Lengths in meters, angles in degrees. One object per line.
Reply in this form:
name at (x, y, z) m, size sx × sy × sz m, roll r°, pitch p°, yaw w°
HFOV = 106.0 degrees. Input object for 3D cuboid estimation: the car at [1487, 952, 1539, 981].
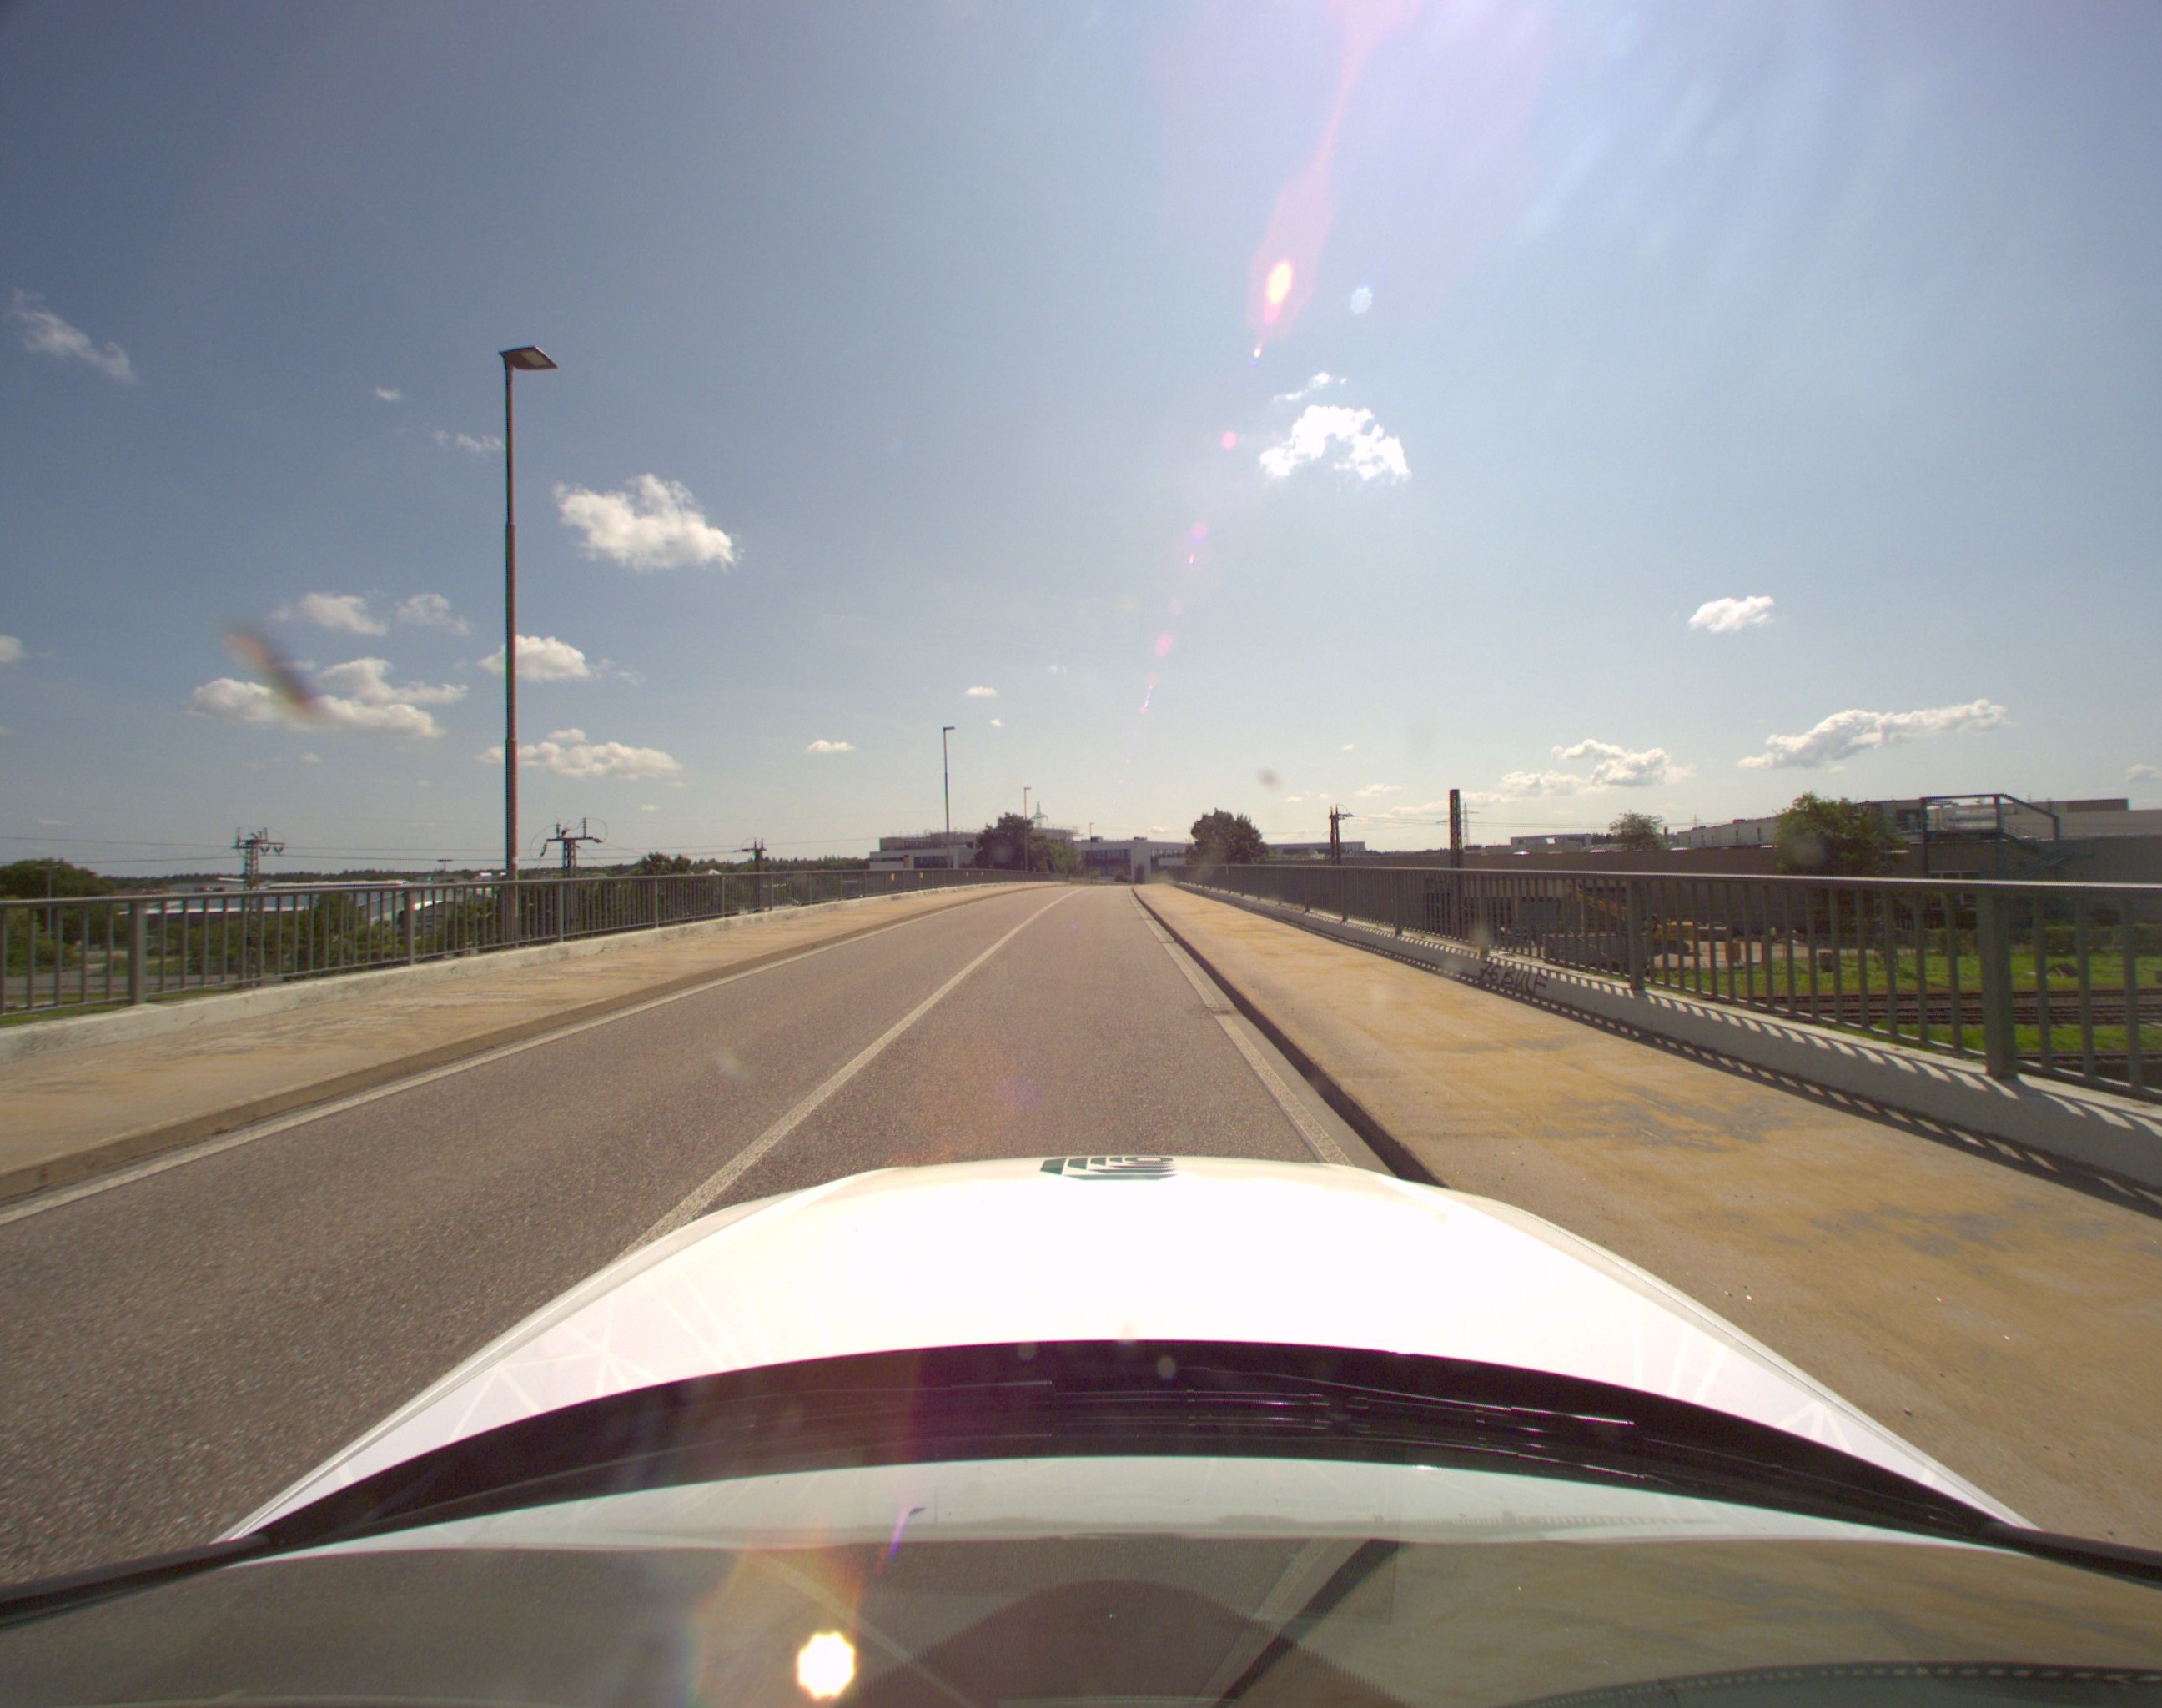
car at (33.416, 8.711, 63.159) m, size 1.984 × 1.595 × 4.249 m, roll 3°, pitch -1°, yaw 4°

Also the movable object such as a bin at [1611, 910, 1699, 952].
movable object such as a bin at (51.632, 6.884, 73.514) m, size 6.143 × 3.290 × 3.269 m, roll -2°, pitch 0°, yaw 30°
